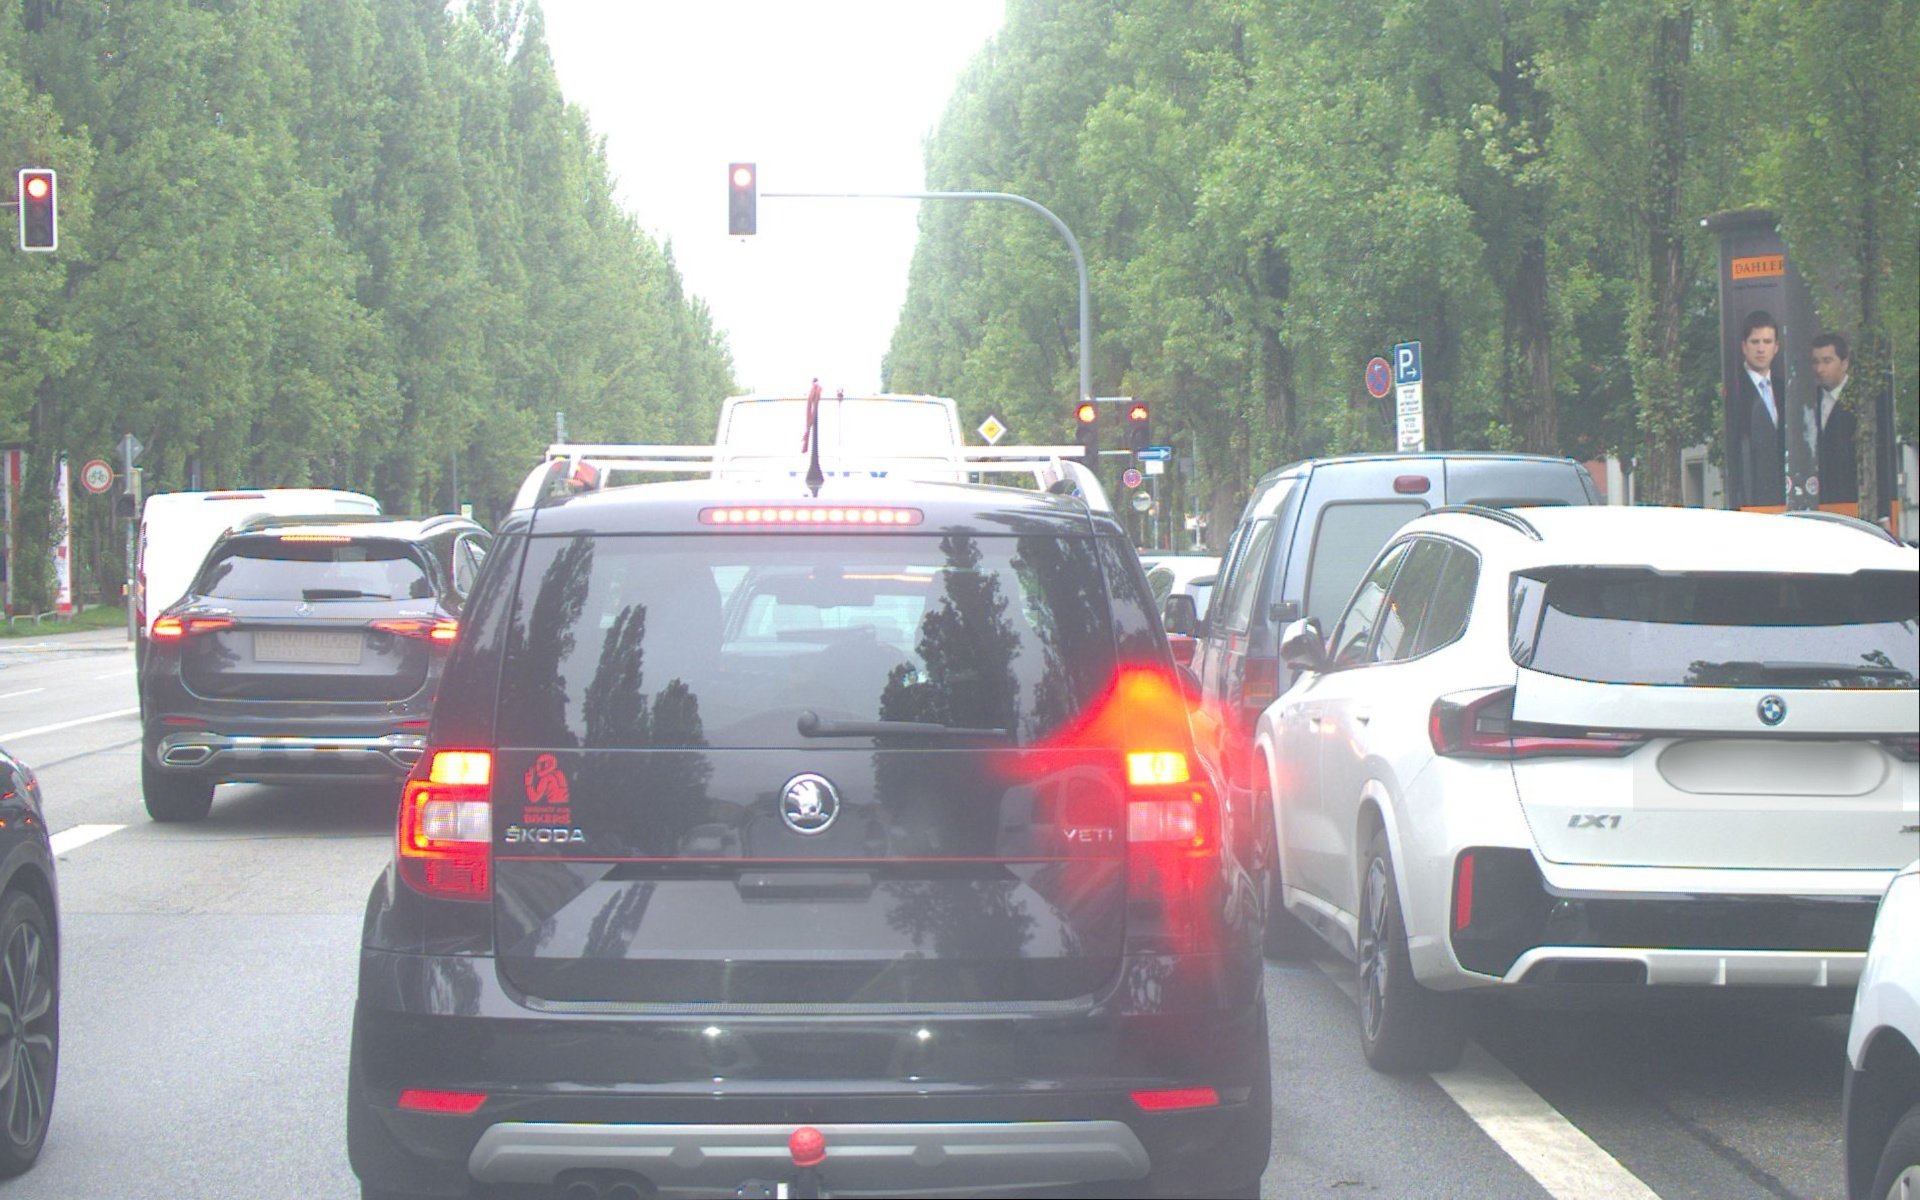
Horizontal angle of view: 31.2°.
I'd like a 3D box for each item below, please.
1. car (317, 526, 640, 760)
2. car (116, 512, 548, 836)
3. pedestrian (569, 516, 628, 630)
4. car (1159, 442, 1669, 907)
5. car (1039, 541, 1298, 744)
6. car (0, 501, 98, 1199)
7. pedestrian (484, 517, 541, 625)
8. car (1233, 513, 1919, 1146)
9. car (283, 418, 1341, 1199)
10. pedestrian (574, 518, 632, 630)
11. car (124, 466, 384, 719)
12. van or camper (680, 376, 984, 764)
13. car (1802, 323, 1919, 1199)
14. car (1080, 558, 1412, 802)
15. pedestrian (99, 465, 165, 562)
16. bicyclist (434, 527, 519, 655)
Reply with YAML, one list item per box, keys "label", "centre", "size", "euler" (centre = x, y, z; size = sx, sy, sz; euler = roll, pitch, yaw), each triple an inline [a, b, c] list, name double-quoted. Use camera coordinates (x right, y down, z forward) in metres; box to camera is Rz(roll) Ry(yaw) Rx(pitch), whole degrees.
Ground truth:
- label: "car"
  centre: [-3.511, 0.251, 25.777]
  size: [1.993, 1.555, 4.001]
  euler: [-1, 2, -2]
- label: "car"
  centre: [-3.373, 0.323, 19.179]
  size: [1.781, 1.614, 4.025]
  euler: [0, 1, -2]
- label: "pedestrian"
  centre: [-6.496, -0.491, 61.788]
  size: [0.885, 2.007, 1.013]
  euler: [-1, 1, 2]
- label: "car"
  centre: [1.985, 0.257, 16.139]
  size: [1.735, 1.888, 4.025]
  euler: [-1, 1, -2]
- label: "car"
  centre: [1.603, 0.290, 27.515]
  size: [1.735, 1.470, 3.563]
  euler: [-1, 1, -2]
- label: "car"
  centre: [-3.079, 0.580, 6.459]
  size: [1.835, 1.580, 4.185]
  euler: [1, 1, 0]
- label: "pedestrian"
  centre: [-8.419, -0.549, 64.704]
  size: [0.885, 2.007, 1.013]
  euler: [-1, 1, 2]
- label: "car"
  centre: [1.962, 0.533, 10.868]
  size: [1.741, 1.587, 4.212]
  euler: [-1, 1, -1]
- label: "car"
  centre: [-0.313, 0.540, 8.128]
  size: [1.855, 1.764, 4.000]
  euler: [1, 1, -1]
- label: "pedestrian"
  centre: [-6.530, -0.485, 62.896]
  size: [0.885, 2.007, 1.013]
  euler: [-1, 1, 2]
- label: "car"
  centre: [-6.307, -0.101, 31.089]
  size: [1.781, 2.104, 4.025]
  euler: [-1, 1, -5]
- label: "van or camper"
  centre: [-0.959, -0.246, 24.815]
  size: [1.975, 2.539, 4.025]
  euler: [-1, 1, -3]
- label: "car"
  centre: [2.430, 0.544, 3.734]
  size: [1.851, 1.875, 4.169]
  euler: [-1, 1, -2]
- label: "car"
  centre: [1.767, 0.455, 22.216]
  size: [1.735, 1.382, 3.563]
  euler: [-1, 1, -2]
- label: "pedestrian"
  centre: [-15.310, -1.602, 63.591]
  size: [0.880, 1.758, 0.878]
  euler: [-1, 1, 8]
- label: "bicyclist"
  centre: [-6.547, -0.128, 46.596]
  size: [0.906, 1.716, 0.824]
  euler: [-1, 1, 8]
